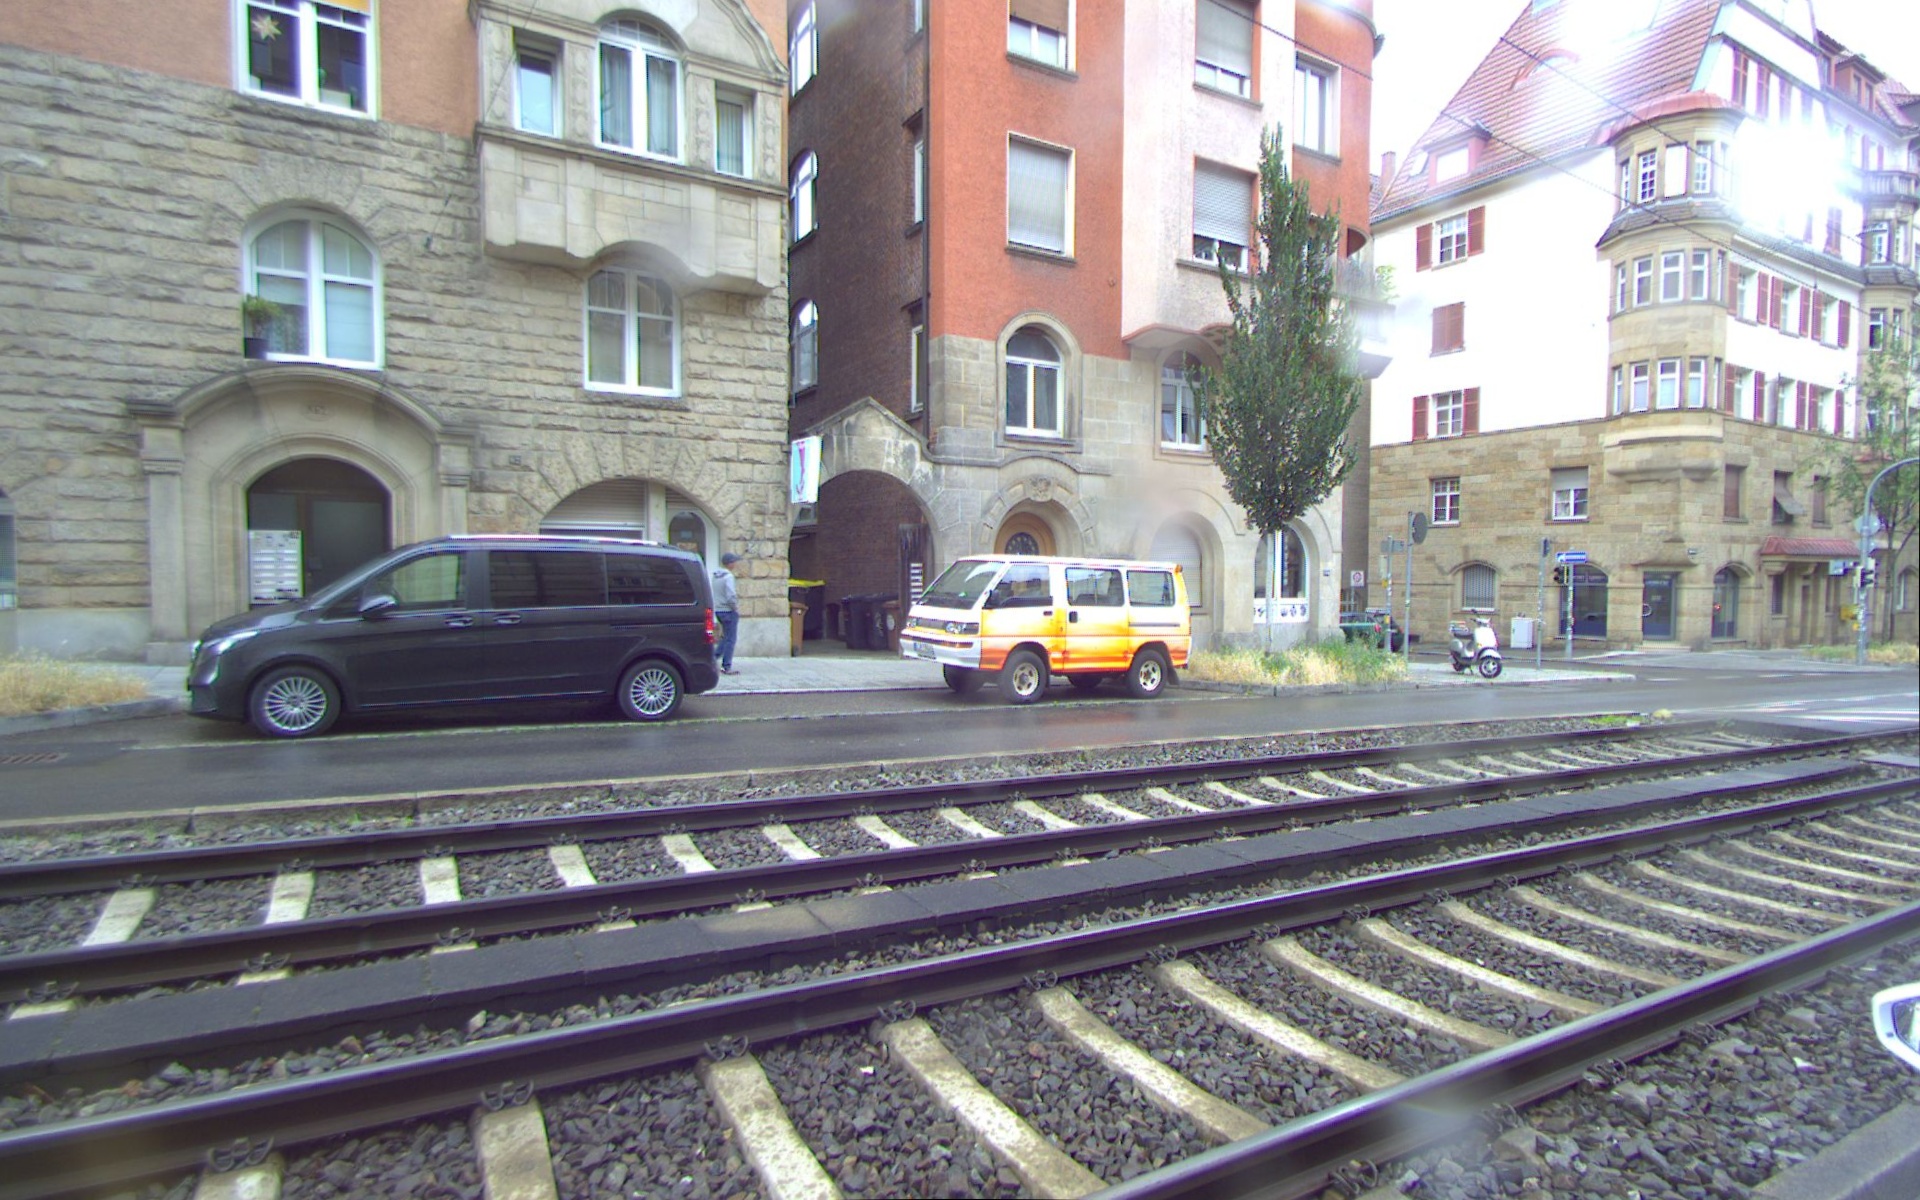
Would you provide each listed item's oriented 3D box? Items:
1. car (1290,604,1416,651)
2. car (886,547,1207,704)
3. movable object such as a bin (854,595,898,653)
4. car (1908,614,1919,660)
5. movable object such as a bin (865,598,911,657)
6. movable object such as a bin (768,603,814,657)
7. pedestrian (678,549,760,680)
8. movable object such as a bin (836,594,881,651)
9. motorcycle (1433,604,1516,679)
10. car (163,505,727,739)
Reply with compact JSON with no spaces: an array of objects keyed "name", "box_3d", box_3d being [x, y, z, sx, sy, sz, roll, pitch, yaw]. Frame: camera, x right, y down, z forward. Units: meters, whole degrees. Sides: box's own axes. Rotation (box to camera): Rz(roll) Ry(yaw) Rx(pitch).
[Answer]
[{"name":"car","box_3d":[14.612,0.998,37.514,1.979,1.595,3.963,2,0,-33]},{"name":"car","box_3d":[1.307,0.375,14.415,4.426,1.956,1.719,2,0,-32]},{"name":"movable object such as a bin","box_3d":[-1.588,0.450,18.979,0.648,1.058,0.545,2,0,-29]},{"name":"car","box_3d":[34.189,1.316,34.294,4.130,1.549,1.680,2,0,-32]},{"name":"movable object such as a bin","box_3d":[-1.326,0.497,18.483,0.648,1.058,0.545,2,0,-29]},{"name":"movable object such as a bin","box_3d":[-2.949,0.524,17.508,0.647,0.910,0.544,2,0,-27]},{"name":"pedestrian","box_3d":[-3.422,0.200,14.211,0.882,1.743,0.713,2,6,-30]},{"name":"movable object such as a bin","box_3d":[-1.975,0.434,19.484,0.648,1.058,0.676,2,0,-29]},{"name":"motorcycle","box_3d":[10.204,0.799,20.006,0.752,1.393,1.785,2,0,2]},{"name":"car","box_3d":[-5.063,0.245,10.450,4.777,1.956,1.896,2,0,-31]}]
